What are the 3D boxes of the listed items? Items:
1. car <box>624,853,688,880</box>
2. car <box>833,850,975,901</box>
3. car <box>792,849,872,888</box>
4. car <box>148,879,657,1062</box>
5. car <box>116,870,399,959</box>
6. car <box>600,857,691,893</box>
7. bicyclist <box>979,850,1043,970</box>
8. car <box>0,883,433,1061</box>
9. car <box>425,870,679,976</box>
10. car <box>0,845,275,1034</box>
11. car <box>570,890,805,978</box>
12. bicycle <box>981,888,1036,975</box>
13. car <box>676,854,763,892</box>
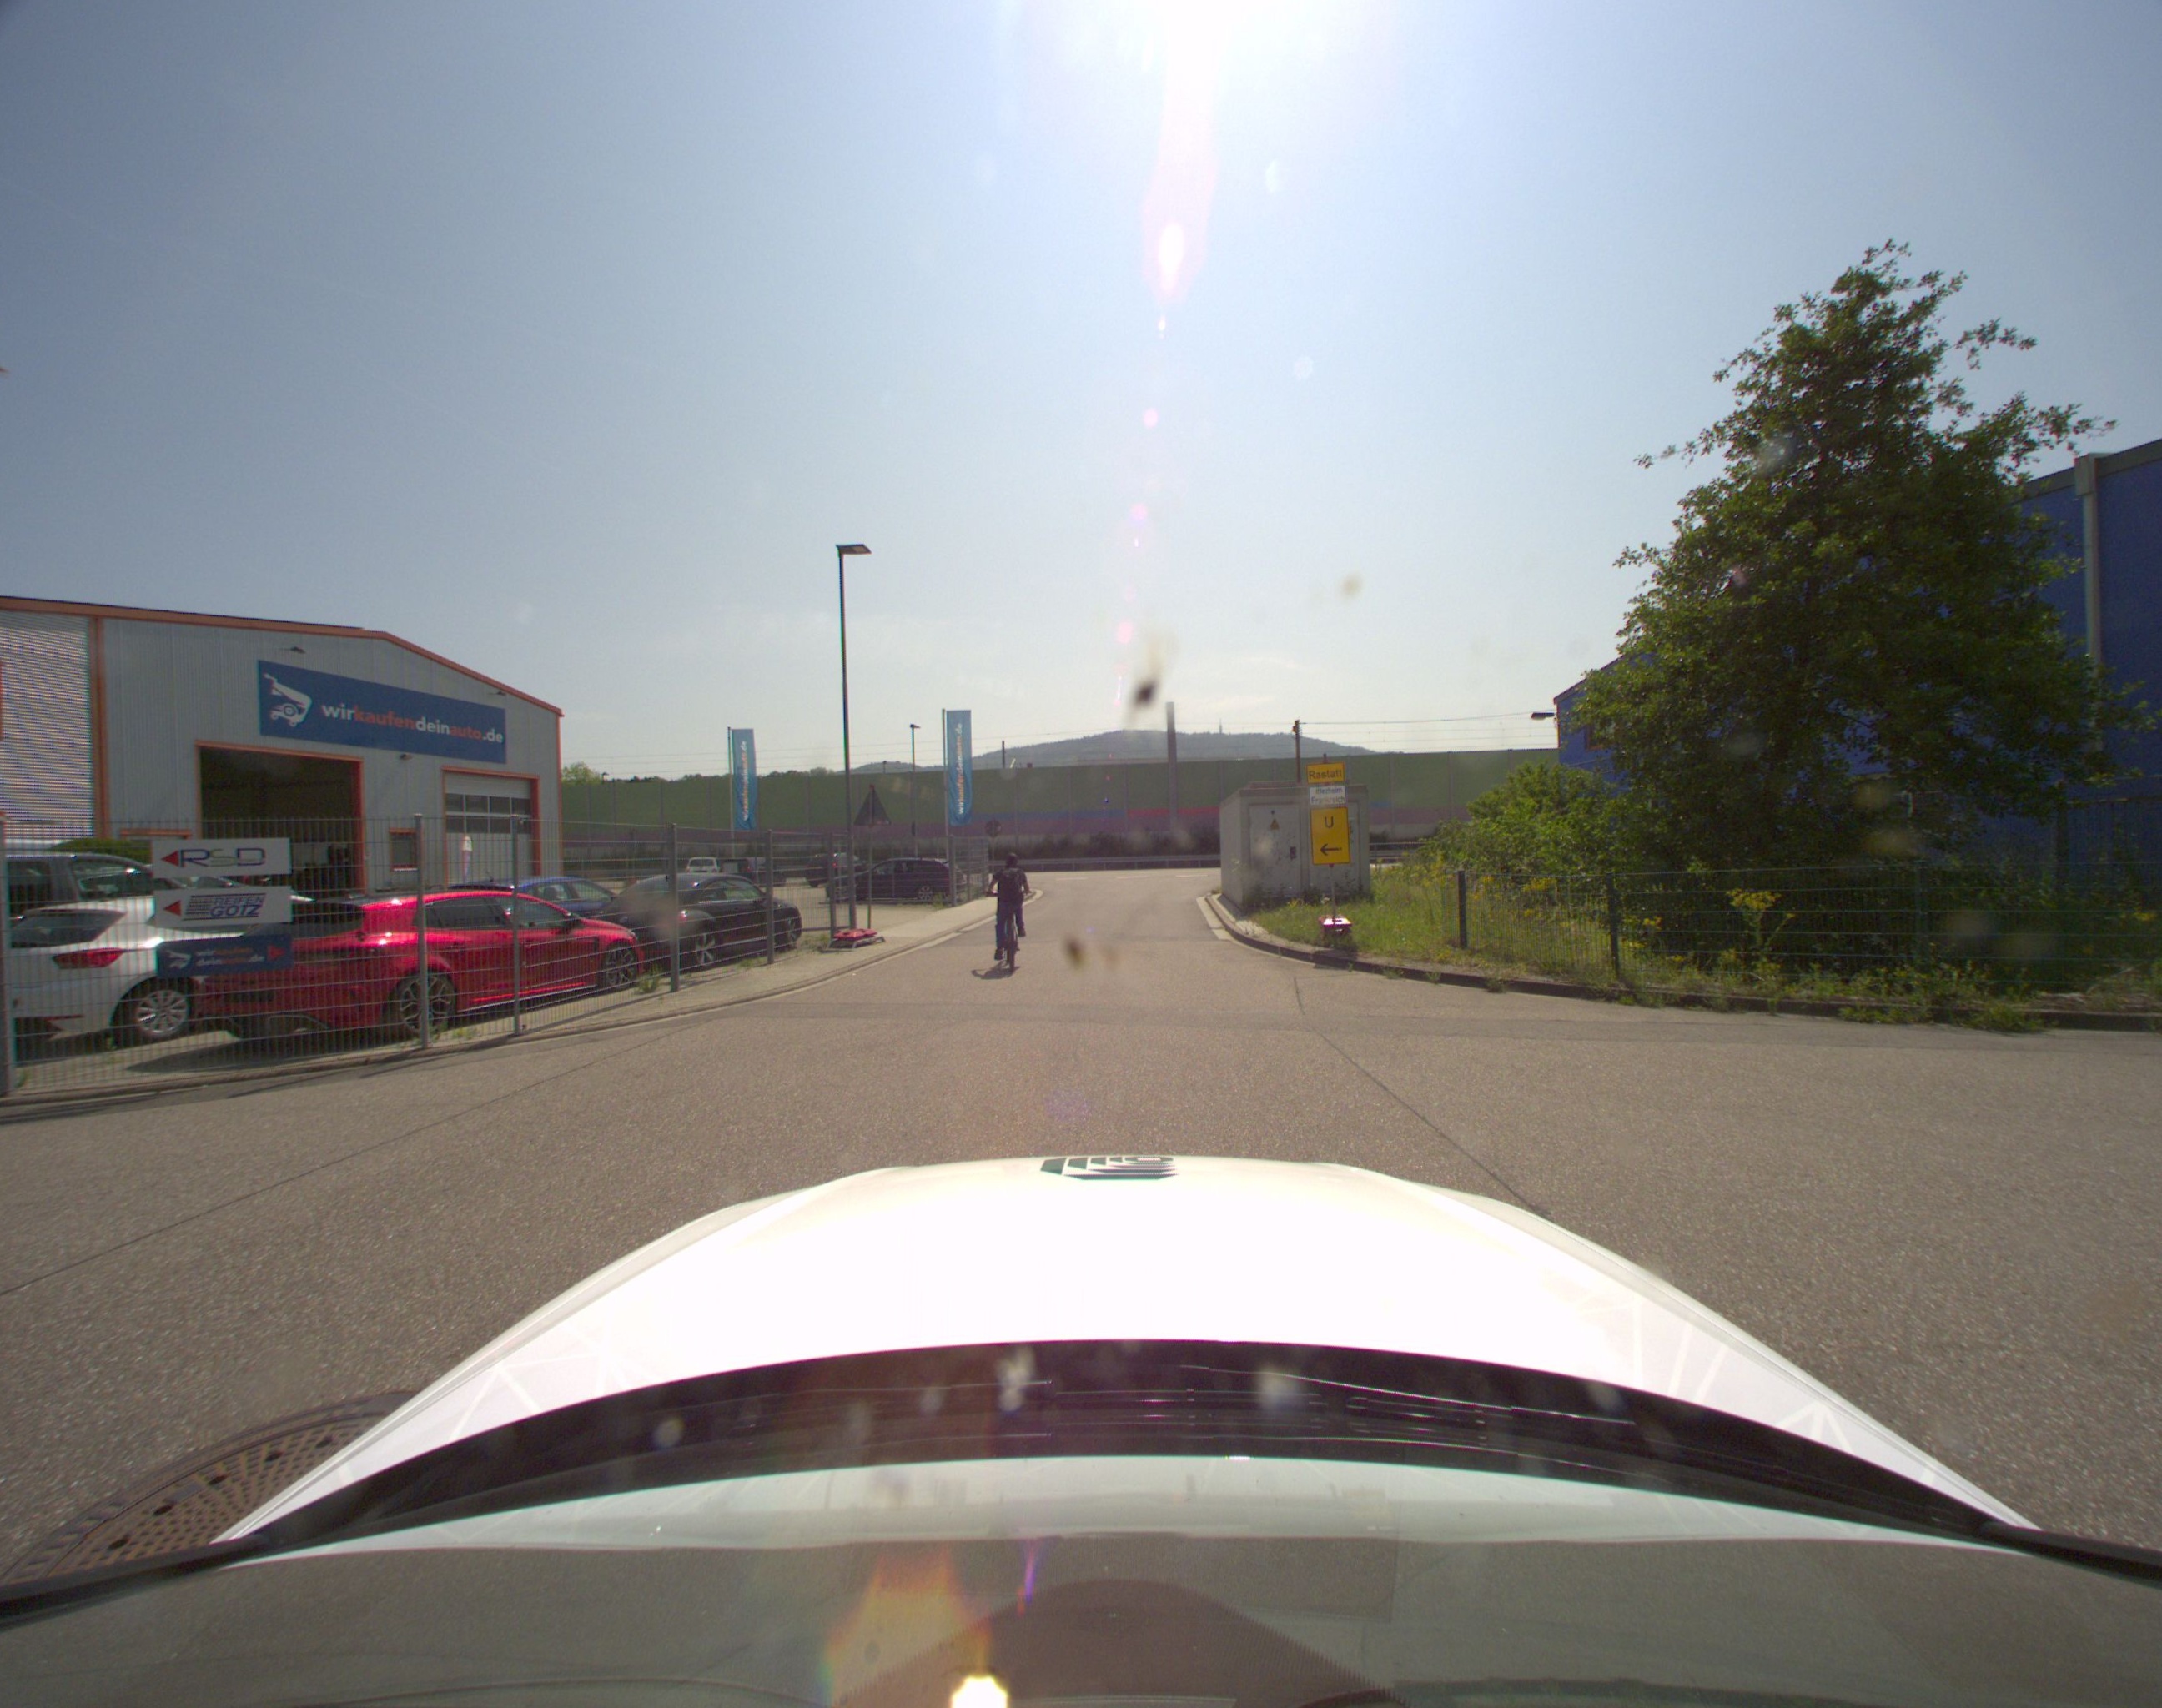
[{"bbox_3d":[-28.062,0.805,53.927,1.689,1.657,4.010,-2,0,9],"label":"car"},{"bbox_3d":[-5.720,0.680,26.575,3.961,1.492,2.006,-2,0,11],"label":"car"},{"bbox_3d":[-11.211,0.616,37.003,1.983,1.581,4.007,-2,0,6],"label":"car"},{"bbox_3d":[-6.939,1.074,9.052,1.859,1.386,4.122,-2,0,7],"label":"car"},{"bbox_3d":[-16.432,1.137,16.572,1.475,1.454,3.902,-2,0,7],"label":"car"},{"bbox_3d":[-21.197,0.975,39.840,1.983,1.581,4.007,-2,0,6],"label":"car"},{"bbox_3d":[-0.981,0.766,11.582,0.840,1.618,1.038,-1,-1,-4],"label":"bicyclist"},{"bbox_3d":[-9.687,1.134,9.072,1.736,1.404,3.611,-2,0,7],"label":"car"},{"bbox_3d":[-8.926,1.079,14.196,1.475,1.454,3.902,-2,0,7],"label":"car"},{"bbox_3d":[-12.565,0.949,9.261,1.940,2.030,4.527,-2,0,7],"label":"car"},{"bbox_3d":[-6.290,1.229,13.598,1.475,1.007,4.122,-2,0,7],"label":"car"},{"bbox_3d":[-1.006,1.057,11.638,0.683,1.051,1.898,-2,0,-3],"label":"bicycle"},{"bbox_3d":[-17.196,0.866,38.947,1.983,1.581,4.007,-2,0,6],"label":"car"}]
